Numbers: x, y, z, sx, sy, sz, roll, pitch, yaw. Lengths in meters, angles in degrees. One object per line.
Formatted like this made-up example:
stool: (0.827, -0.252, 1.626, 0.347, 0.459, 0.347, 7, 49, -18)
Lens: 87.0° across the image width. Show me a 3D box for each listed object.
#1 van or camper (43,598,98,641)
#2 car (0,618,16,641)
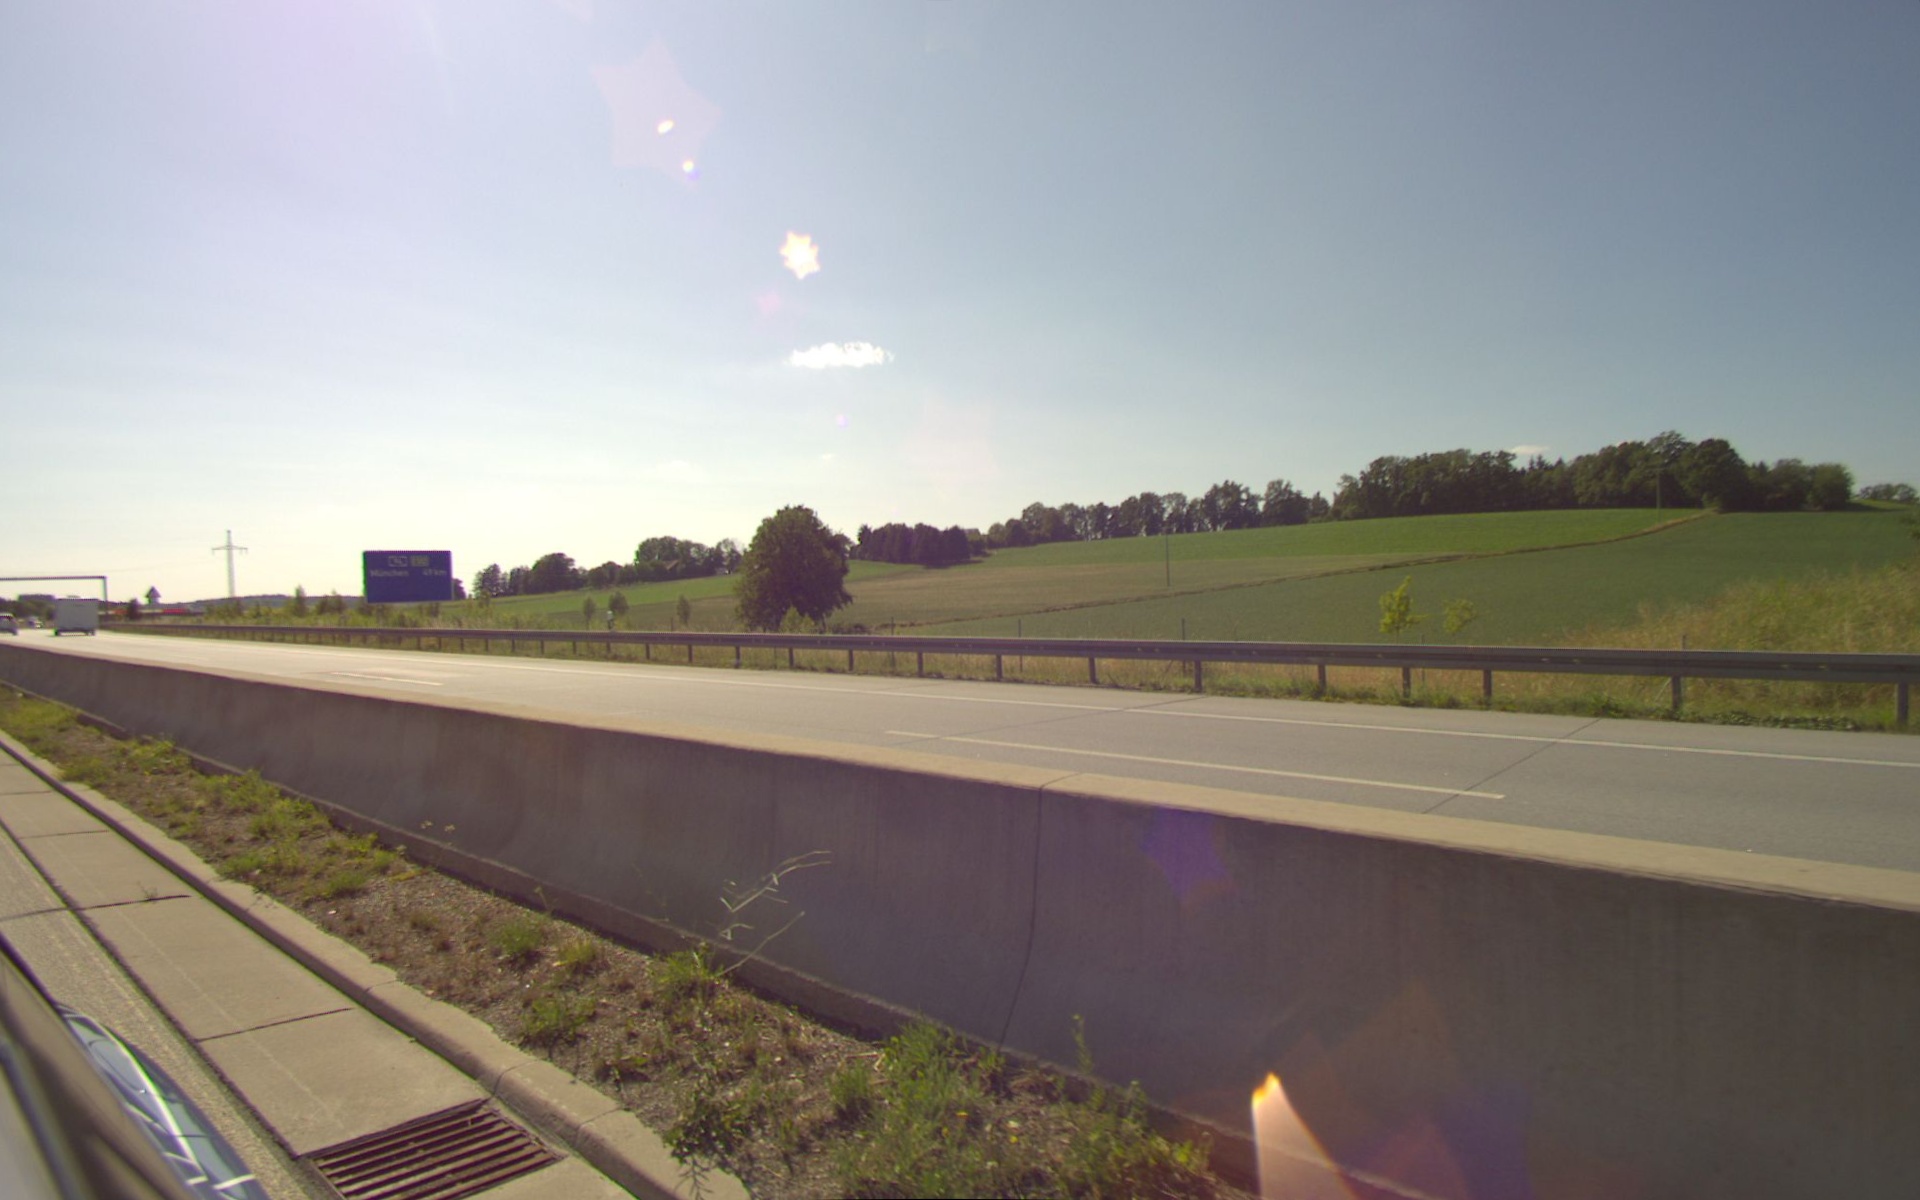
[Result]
van or camper: (-67.098, 1.455, 76.325, 7.440, 3.104, 2.562, -1, -1, 44)
car: (-74.782, 2.282, 78.455, 4.345, 1.722, 1.965, -1, -1, 43)
